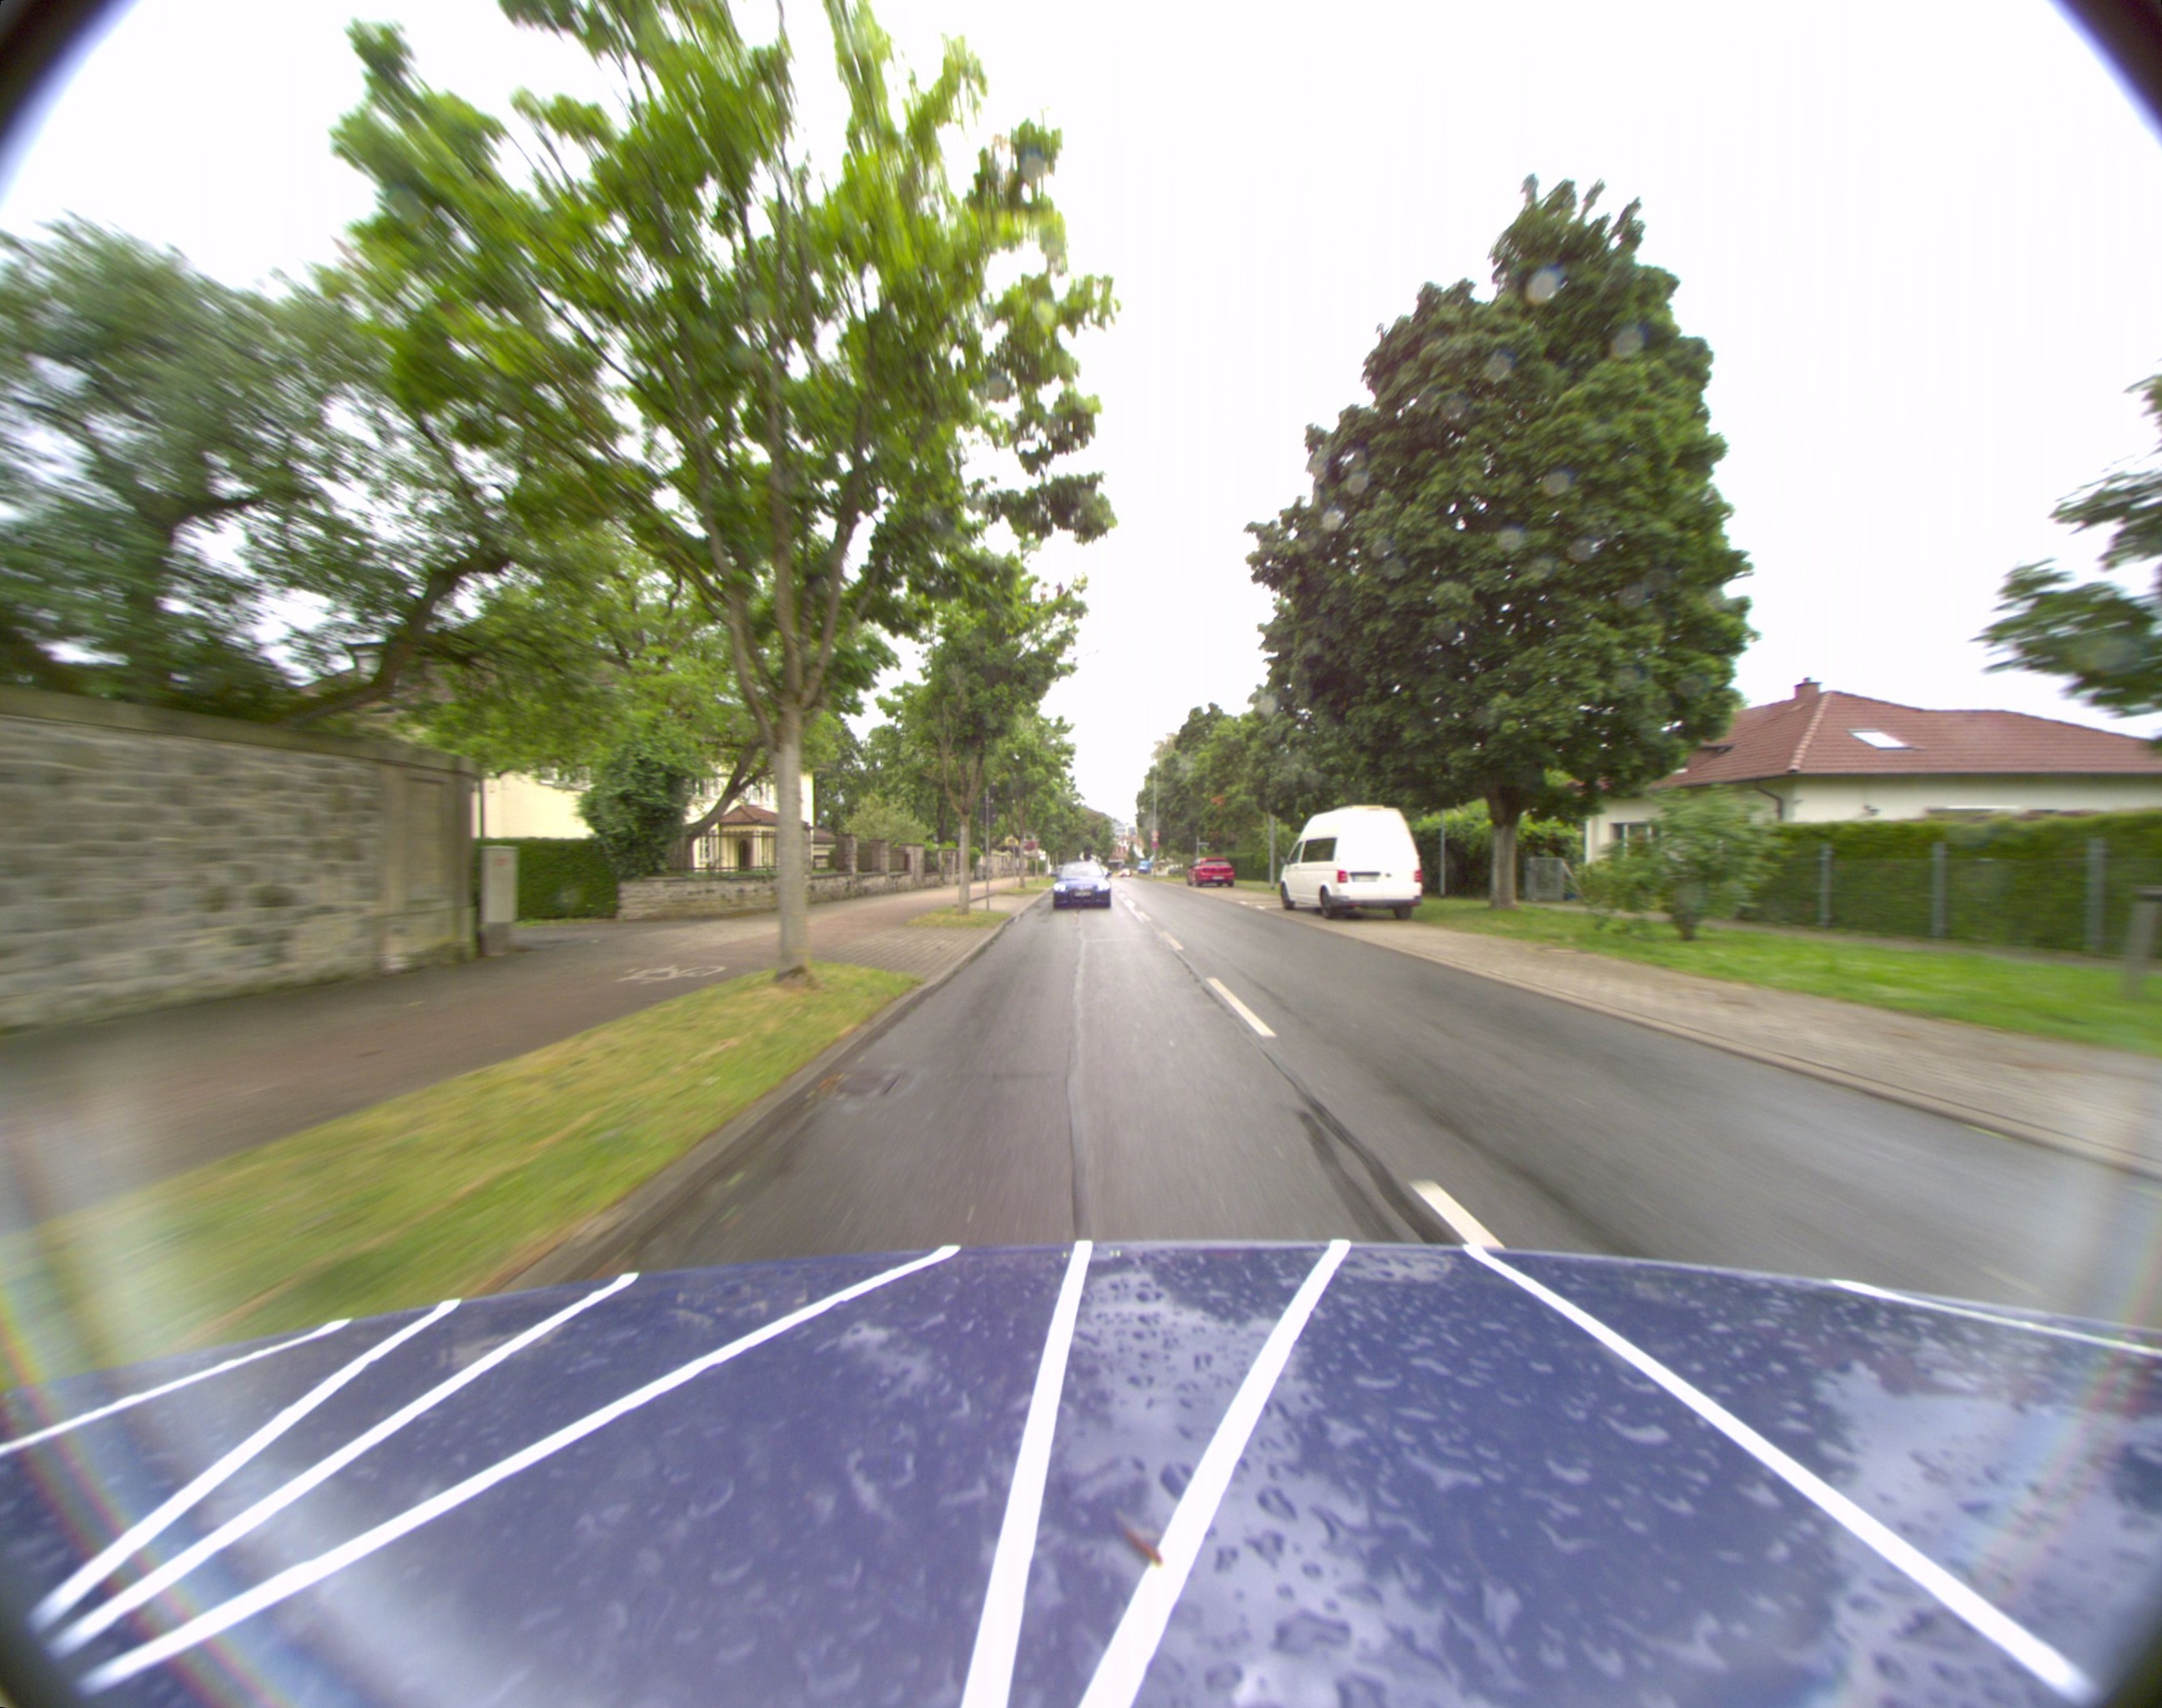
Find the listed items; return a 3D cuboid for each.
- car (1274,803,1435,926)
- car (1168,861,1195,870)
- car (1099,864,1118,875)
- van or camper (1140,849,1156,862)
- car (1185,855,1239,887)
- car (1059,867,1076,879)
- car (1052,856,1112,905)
[{"bbox_3d":[6.343,0.231,18.385,1.999,2.546,5.232,0,0,0],"label":"car"},{"bbox_3d":[17.559,2.022,132.987,4.434,1.408,1.758,-4,-1,16],"label":"car"},{"bbox_3d":[4.032,2.273,109.861,1.893,1.531,4.005,-2,-1,14],"label":"car"},{"bbox_3d":[14.456,0.276,163.680,2.146,2.594,5.789,1,1,17],"label":"van or camper"},{"bbox_3d":[6.385,0.800,37.468,1.848,1.457,4.249,-1,0,-1],"label":"car"},{"bbox_3d":[-1.578,2.222,90.613,1.645,1.369,3.831,1,-1,4],"label":"car"},{"bbox_3d":[0.067,0.902,26.764,1.895,1.531,4.001,-2,-1,1],"label":"car"}]
